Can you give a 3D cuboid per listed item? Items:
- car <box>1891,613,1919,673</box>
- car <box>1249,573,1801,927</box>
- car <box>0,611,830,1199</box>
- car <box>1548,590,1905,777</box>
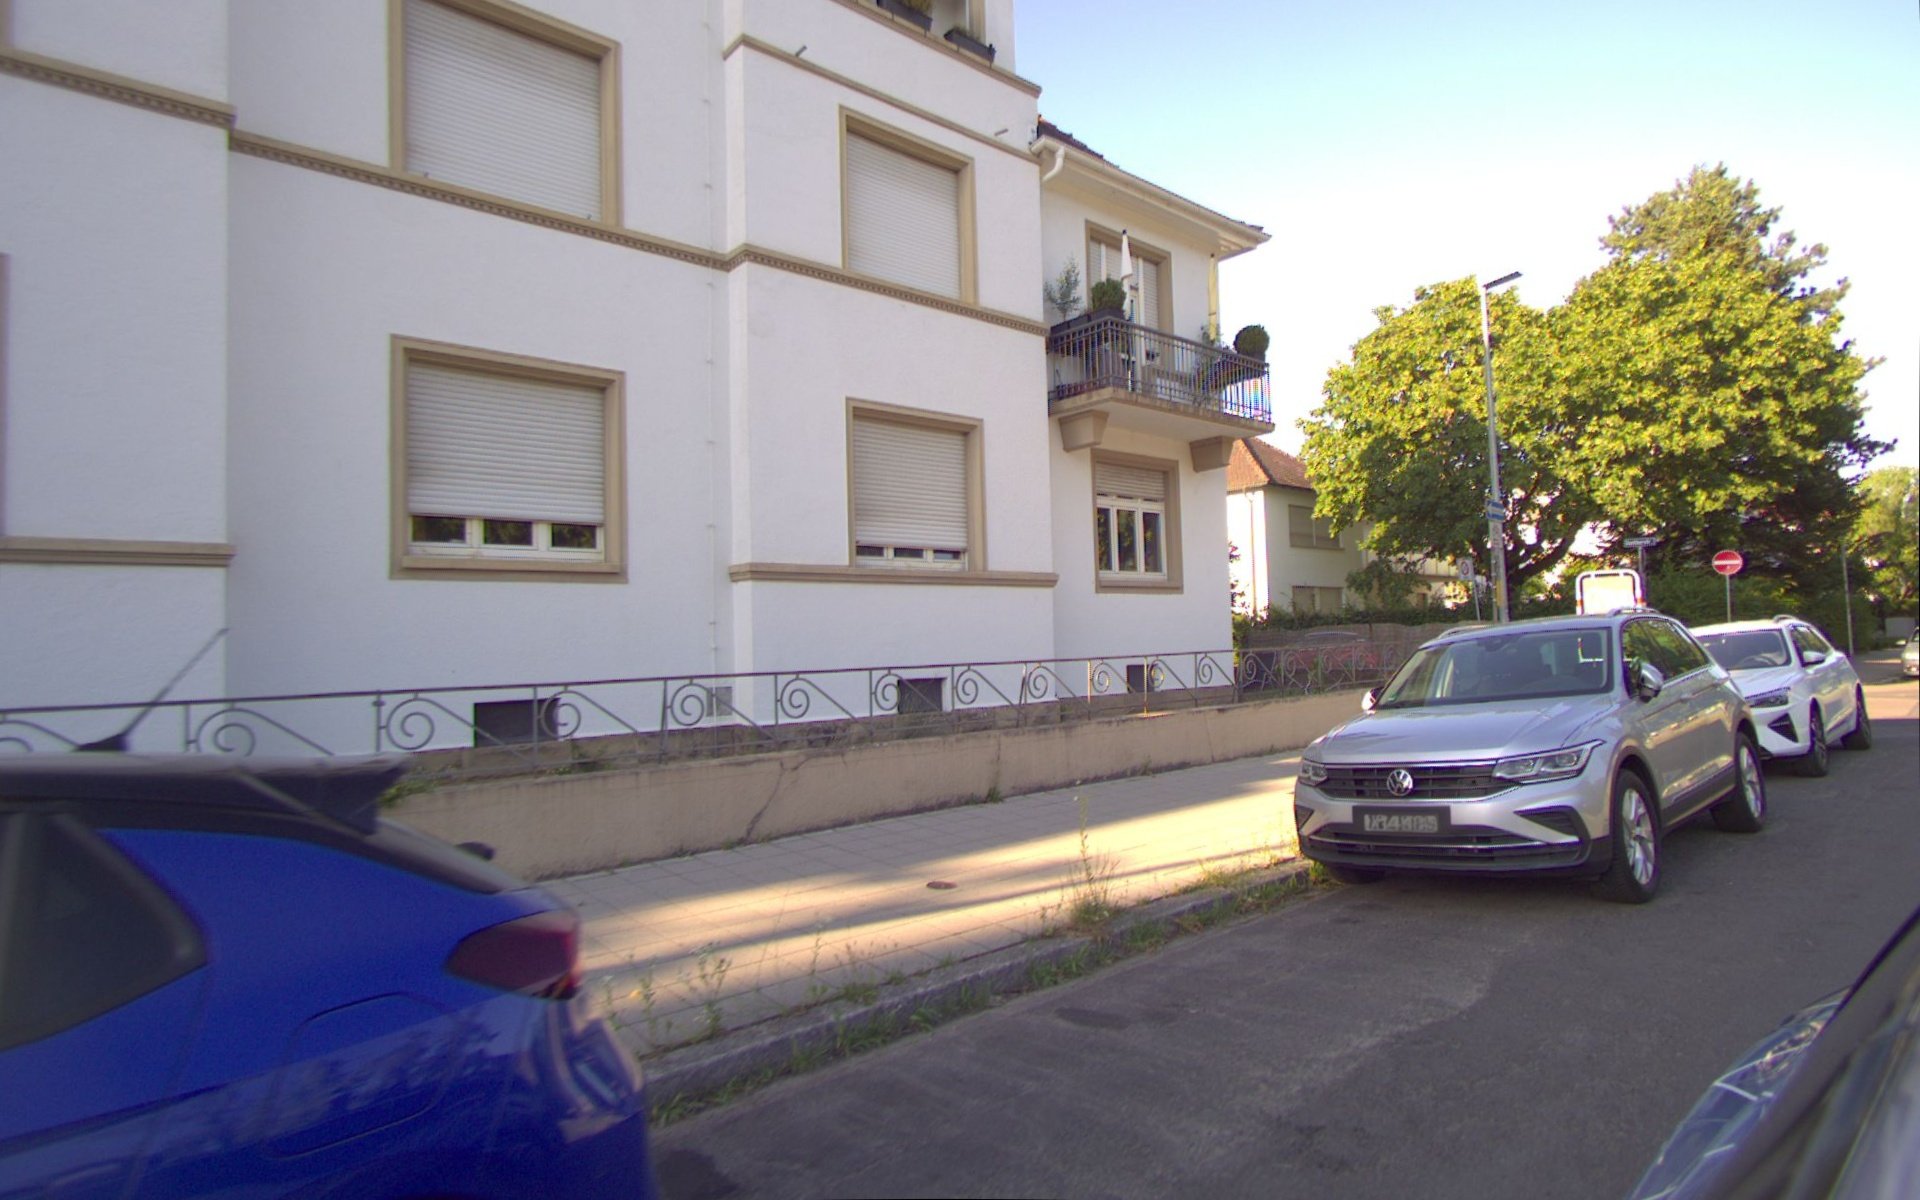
[{"bbox_3d":[25.653,0.976,25.840,4.059,1.423,2.108,1,-9,-40],"label":"car"},{"bbox_3d":[4.108,0.778,6.986,4.507,1.670,1.802,-1,-7,-42],"label":"car"},{"bbox_3d":[-2.437,0.905,1.254,4.230,1.454,1.763,-1,-9,-42],"label":"car"},{"bbox_3d":[8.359,0.824,10.895,4.508,1.554,1.878,-1,-8,-39],"label":"car"}]
